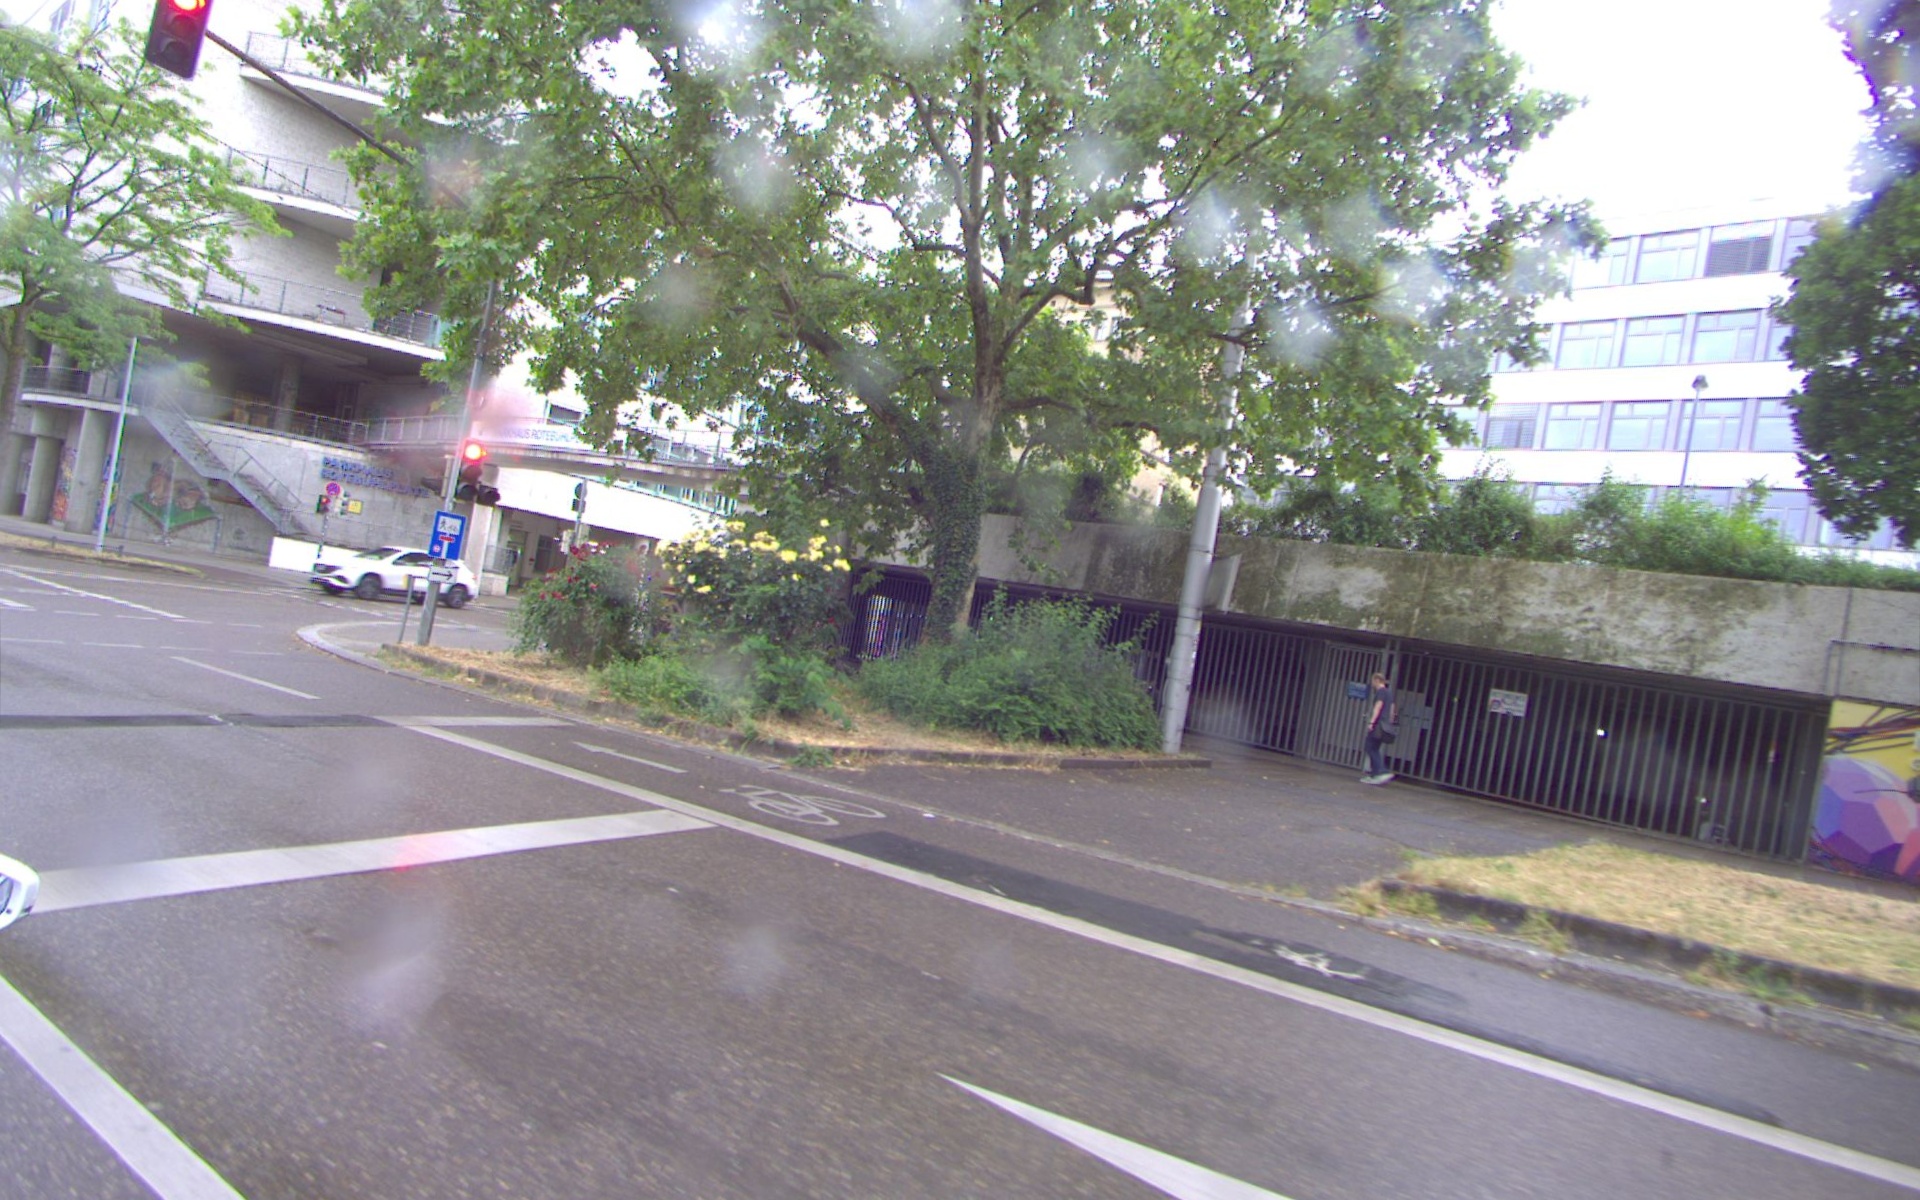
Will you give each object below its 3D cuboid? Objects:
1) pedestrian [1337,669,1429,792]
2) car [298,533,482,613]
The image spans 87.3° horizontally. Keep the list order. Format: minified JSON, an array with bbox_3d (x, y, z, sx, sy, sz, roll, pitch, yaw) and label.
[{"bbox_3d":[7.173,2.194,17.055,1.041,1.887,0.806,7,0,41],"label":"pedestrian"},{"bbox_3d":[-16.458,-0.724,29.305,1.720,1.702,4.360,3,-5,25],"label":"car"}]
